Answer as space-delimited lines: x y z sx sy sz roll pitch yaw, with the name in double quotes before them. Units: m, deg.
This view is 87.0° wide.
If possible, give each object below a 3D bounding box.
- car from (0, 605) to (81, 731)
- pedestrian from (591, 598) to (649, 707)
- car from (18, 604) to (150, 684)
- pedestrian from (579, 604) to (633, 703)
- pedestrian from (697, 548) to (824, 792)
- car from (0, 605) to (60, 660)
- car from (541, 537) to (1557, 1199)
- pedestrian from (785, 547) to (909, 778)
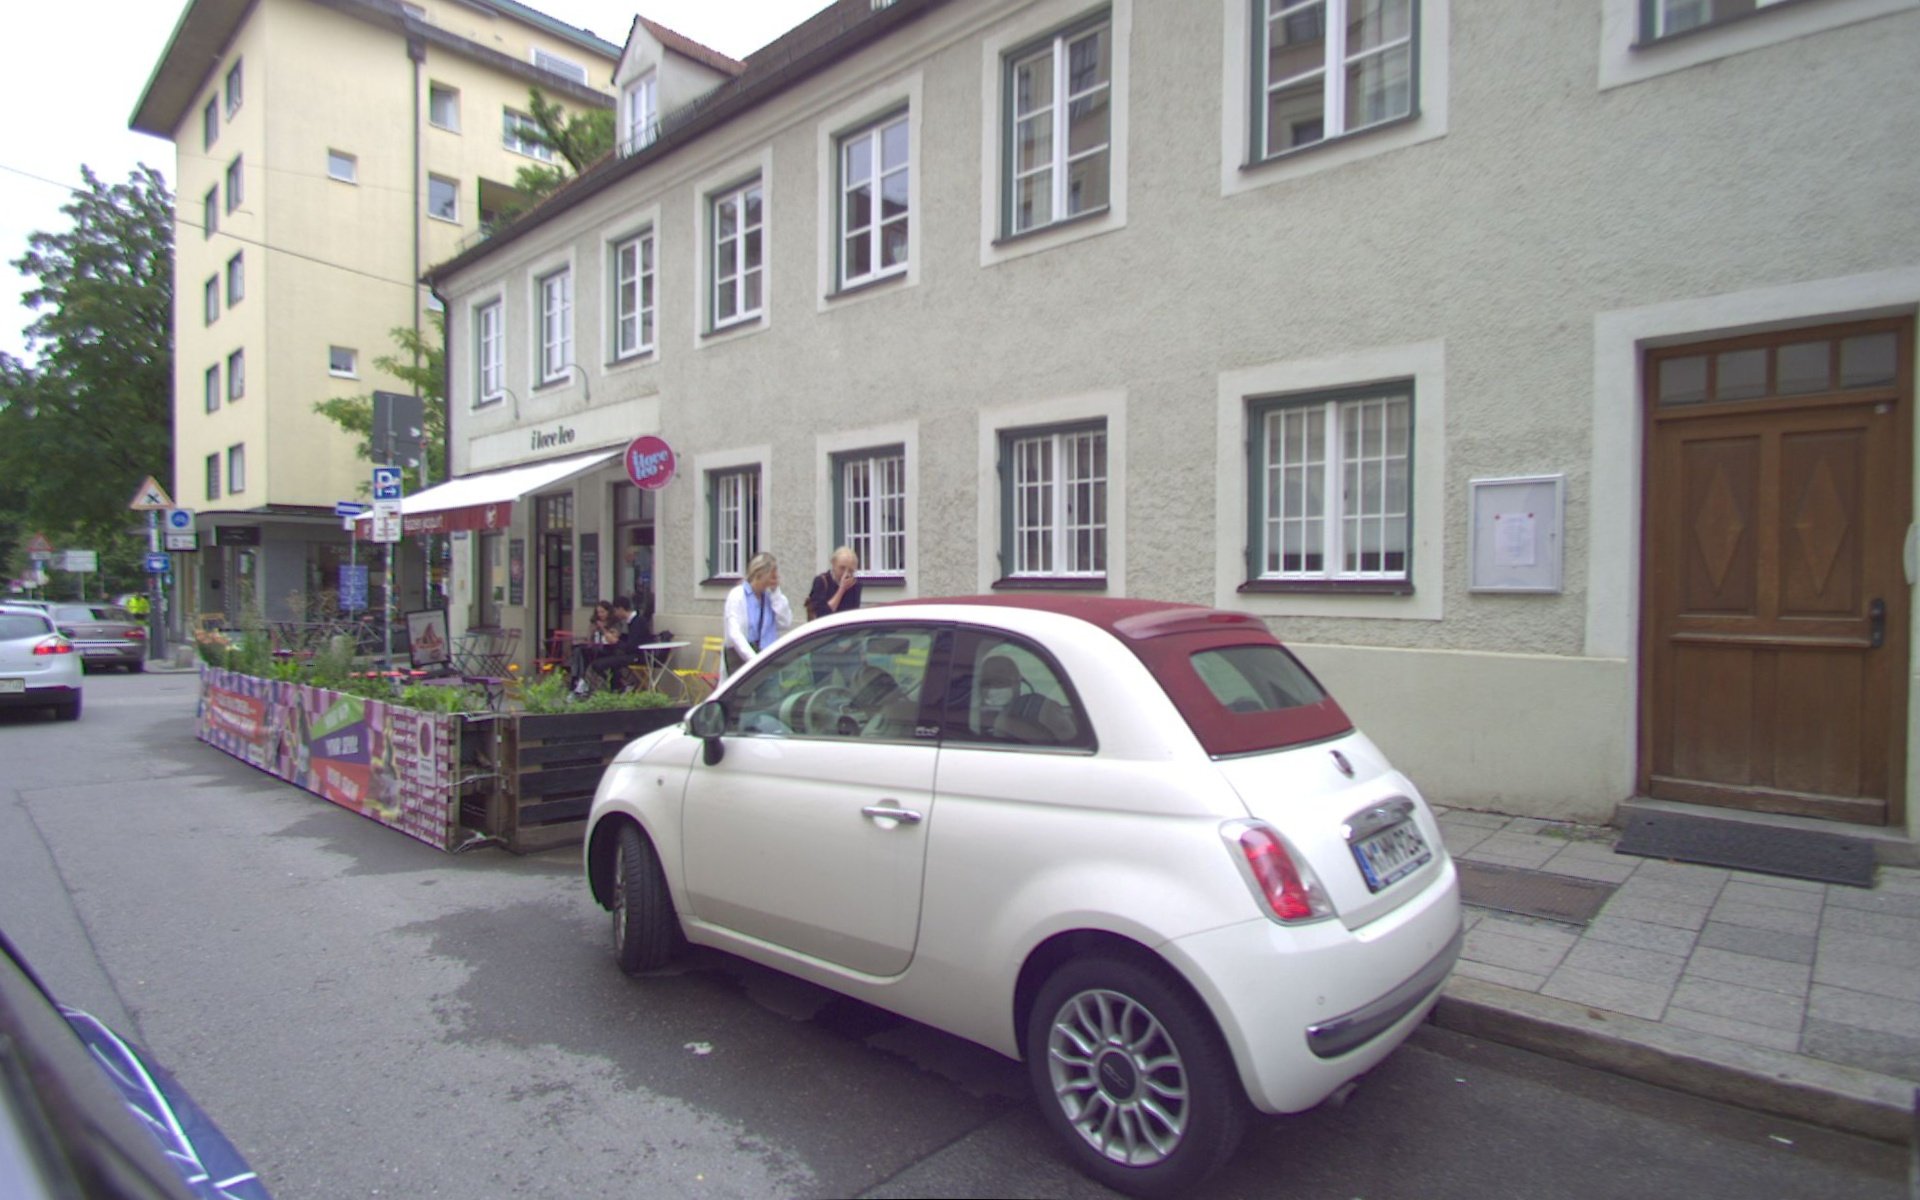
"car" -12.500 0.780 12.734 3.905 1.428 1.769 0 -1 43
"pedestrian" -4.154 0.634 12.357 0.515 1.276 0.549 -2 -1 -32
"car" -18.328 0.840 21.107 4.000 1.511 1.688 0 0 43
"pedestrian" -4.582 0.682 13.084 0.501 1.222 0.596 -2 -1 -32
"pedestrian" -1.410 0.464 7.150 0.662 1.610 0.606 0 0 40
"car" -28.591 0.933 30.609 4.000 1.571 1.688 0 0 43
"car" 0.064 0.632 3.681 3.422 1.526 1.553 0 1 41
"pedestrian" -0.893 0.464 7.972 0.806 1.711 0.574 0 0 40
